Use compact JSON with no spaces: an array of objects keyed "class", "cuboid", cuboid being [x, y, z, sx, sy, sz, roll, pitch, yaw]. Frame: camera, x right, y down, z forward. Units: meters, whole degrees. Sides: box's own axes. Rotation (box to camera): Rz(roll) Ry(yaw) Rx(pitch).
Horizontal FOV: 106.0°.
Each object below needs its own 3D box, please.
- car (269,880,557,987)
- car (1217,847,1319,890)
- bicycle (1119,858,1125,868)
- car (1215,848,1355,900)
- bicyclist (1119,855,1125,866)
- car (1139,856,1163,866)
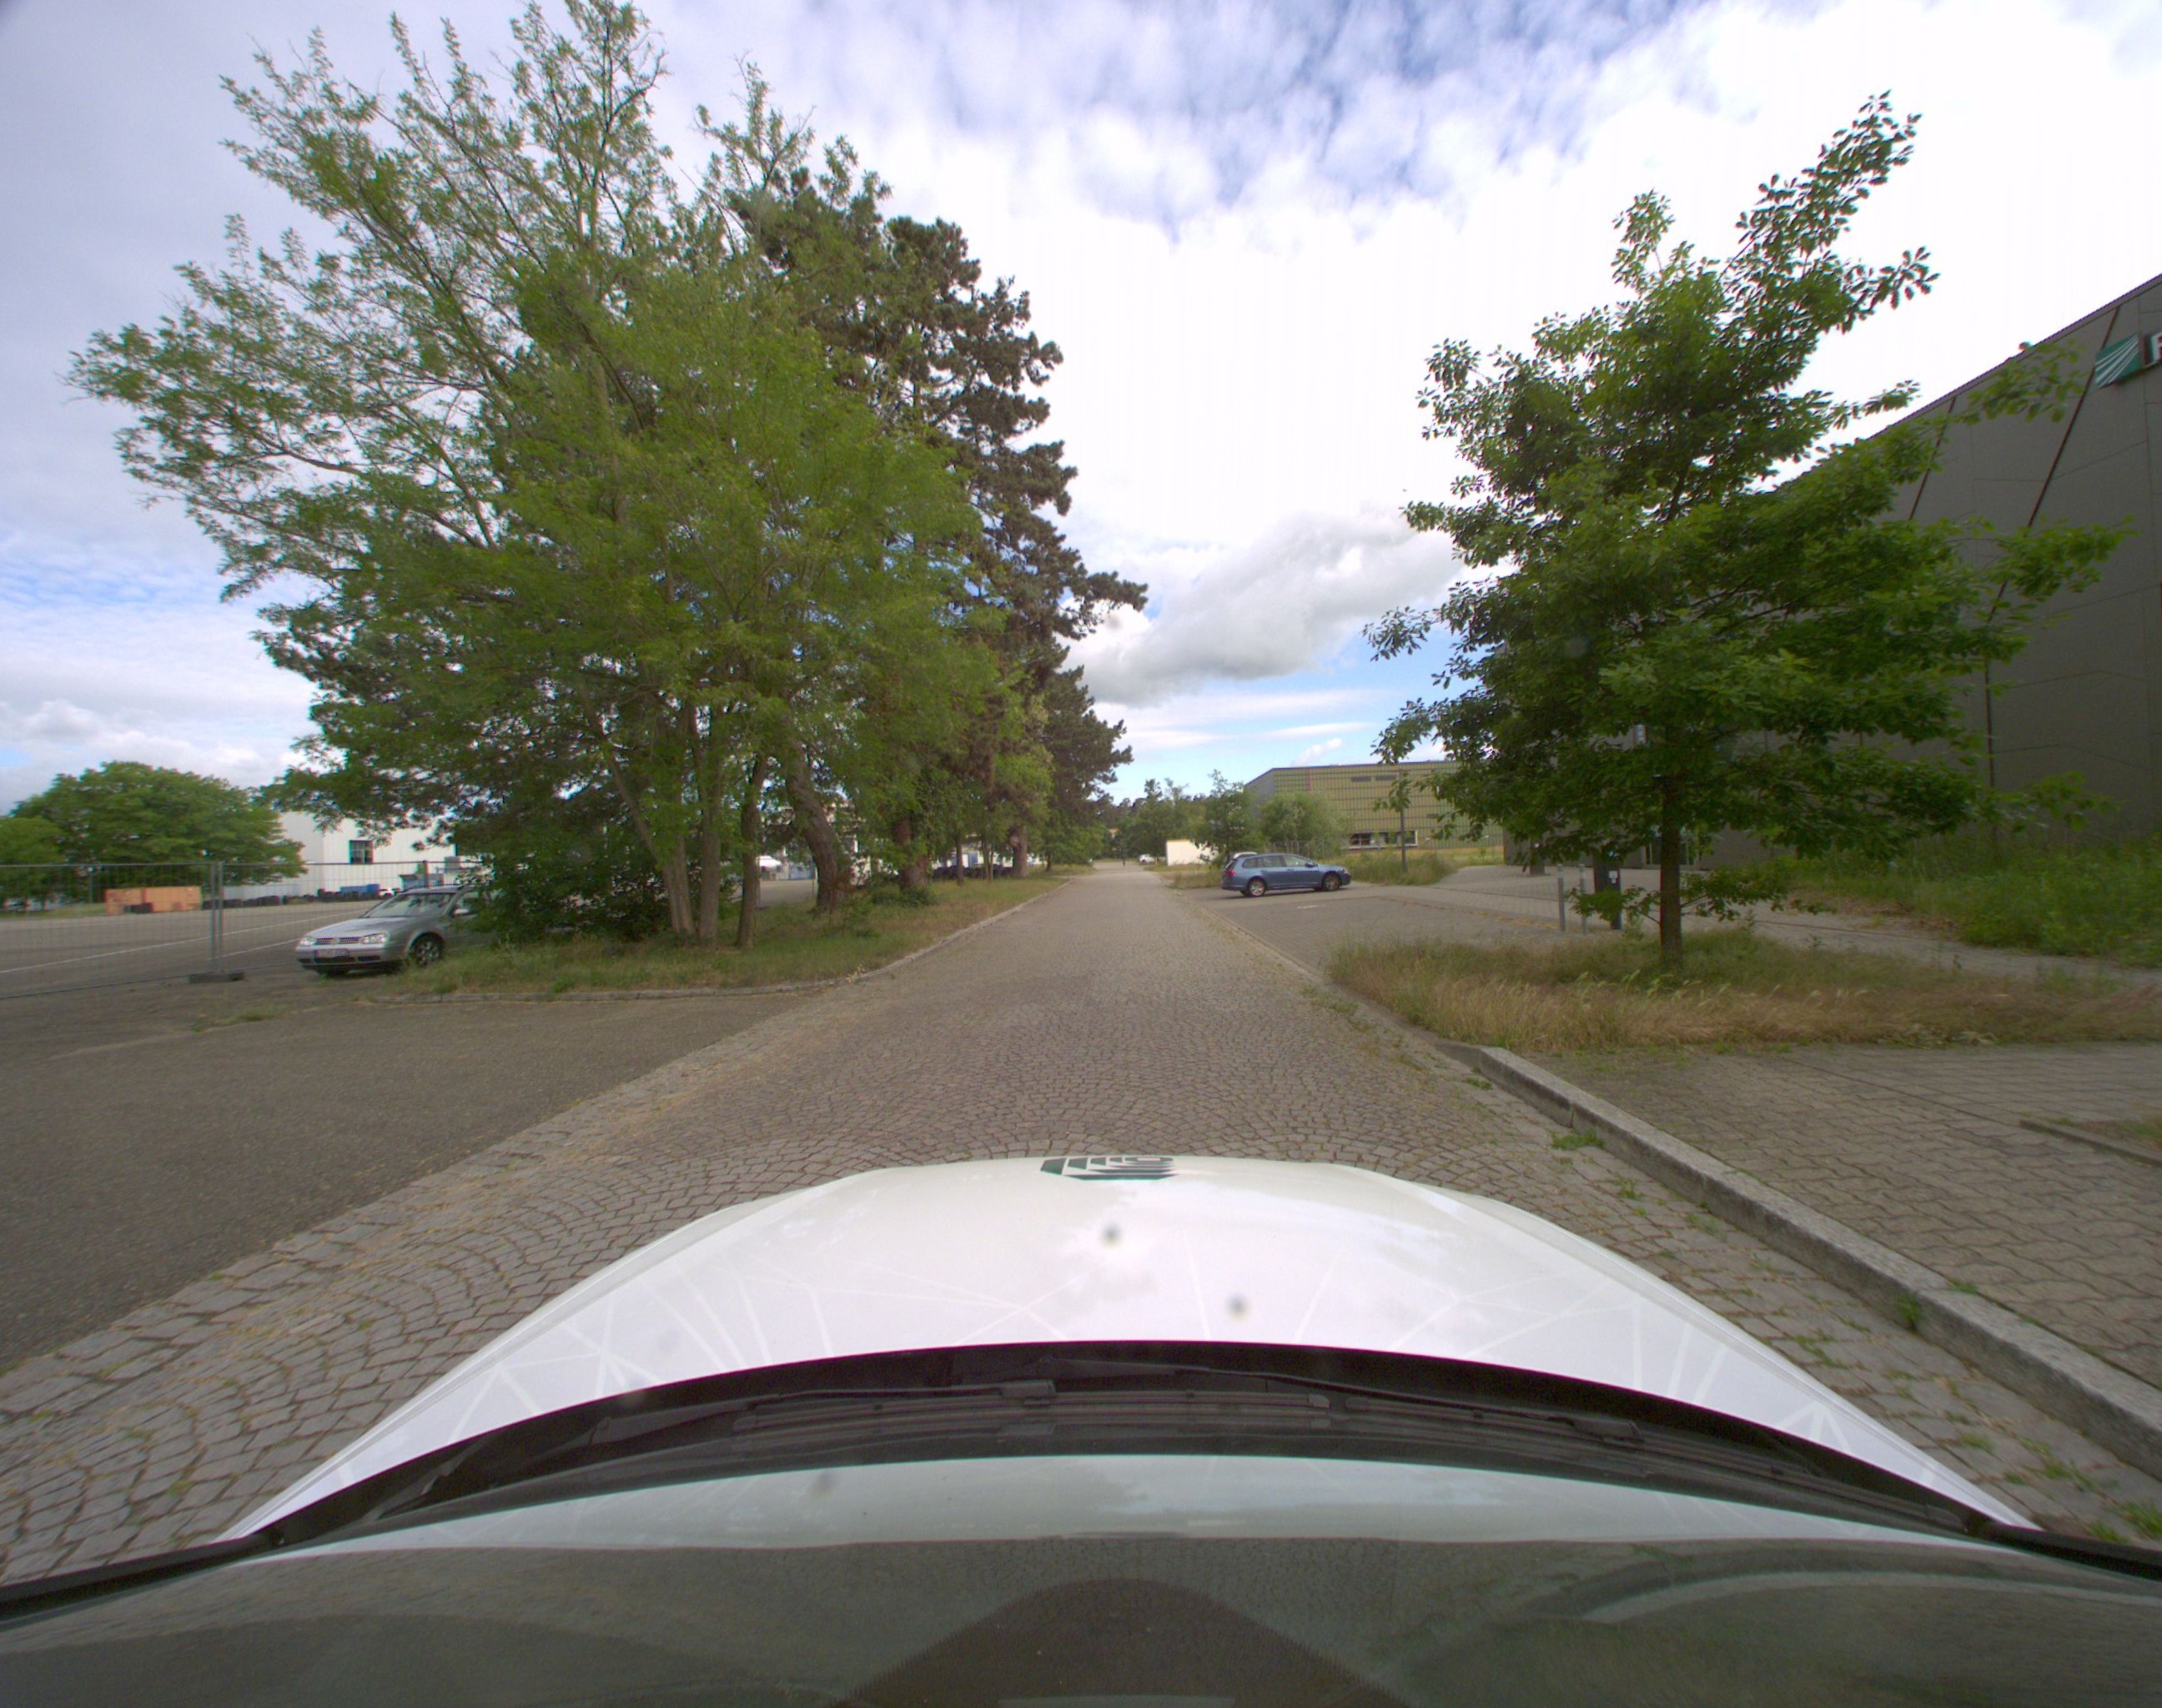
[{"class":"car","cuboid":[-11.954,1.335,15.017,1.723,1.432,4.164,-2,1,2]},{"class":"car","cuboid":[8.309,0.630,36.507,4.094,1.572,1.765,-4,-1,0]},{"class":"bicycle","cuboid":[6.216,1.358,123.136,0.820,1.376,2.043,-2,1,2]},{"class":"car","cuboid":[7.196,0.705,29.085,4.466,1.462,1.934,-4,0,0]},{"class":"bicyclist","cuboid":[6.198,0.945,123.203,0.894,1.542,0.868,-2,1,1]},{"class":"car","cuboid":[12.832,1.258,148.853,4.303,1.549,2.002,-2,0,4]}]
